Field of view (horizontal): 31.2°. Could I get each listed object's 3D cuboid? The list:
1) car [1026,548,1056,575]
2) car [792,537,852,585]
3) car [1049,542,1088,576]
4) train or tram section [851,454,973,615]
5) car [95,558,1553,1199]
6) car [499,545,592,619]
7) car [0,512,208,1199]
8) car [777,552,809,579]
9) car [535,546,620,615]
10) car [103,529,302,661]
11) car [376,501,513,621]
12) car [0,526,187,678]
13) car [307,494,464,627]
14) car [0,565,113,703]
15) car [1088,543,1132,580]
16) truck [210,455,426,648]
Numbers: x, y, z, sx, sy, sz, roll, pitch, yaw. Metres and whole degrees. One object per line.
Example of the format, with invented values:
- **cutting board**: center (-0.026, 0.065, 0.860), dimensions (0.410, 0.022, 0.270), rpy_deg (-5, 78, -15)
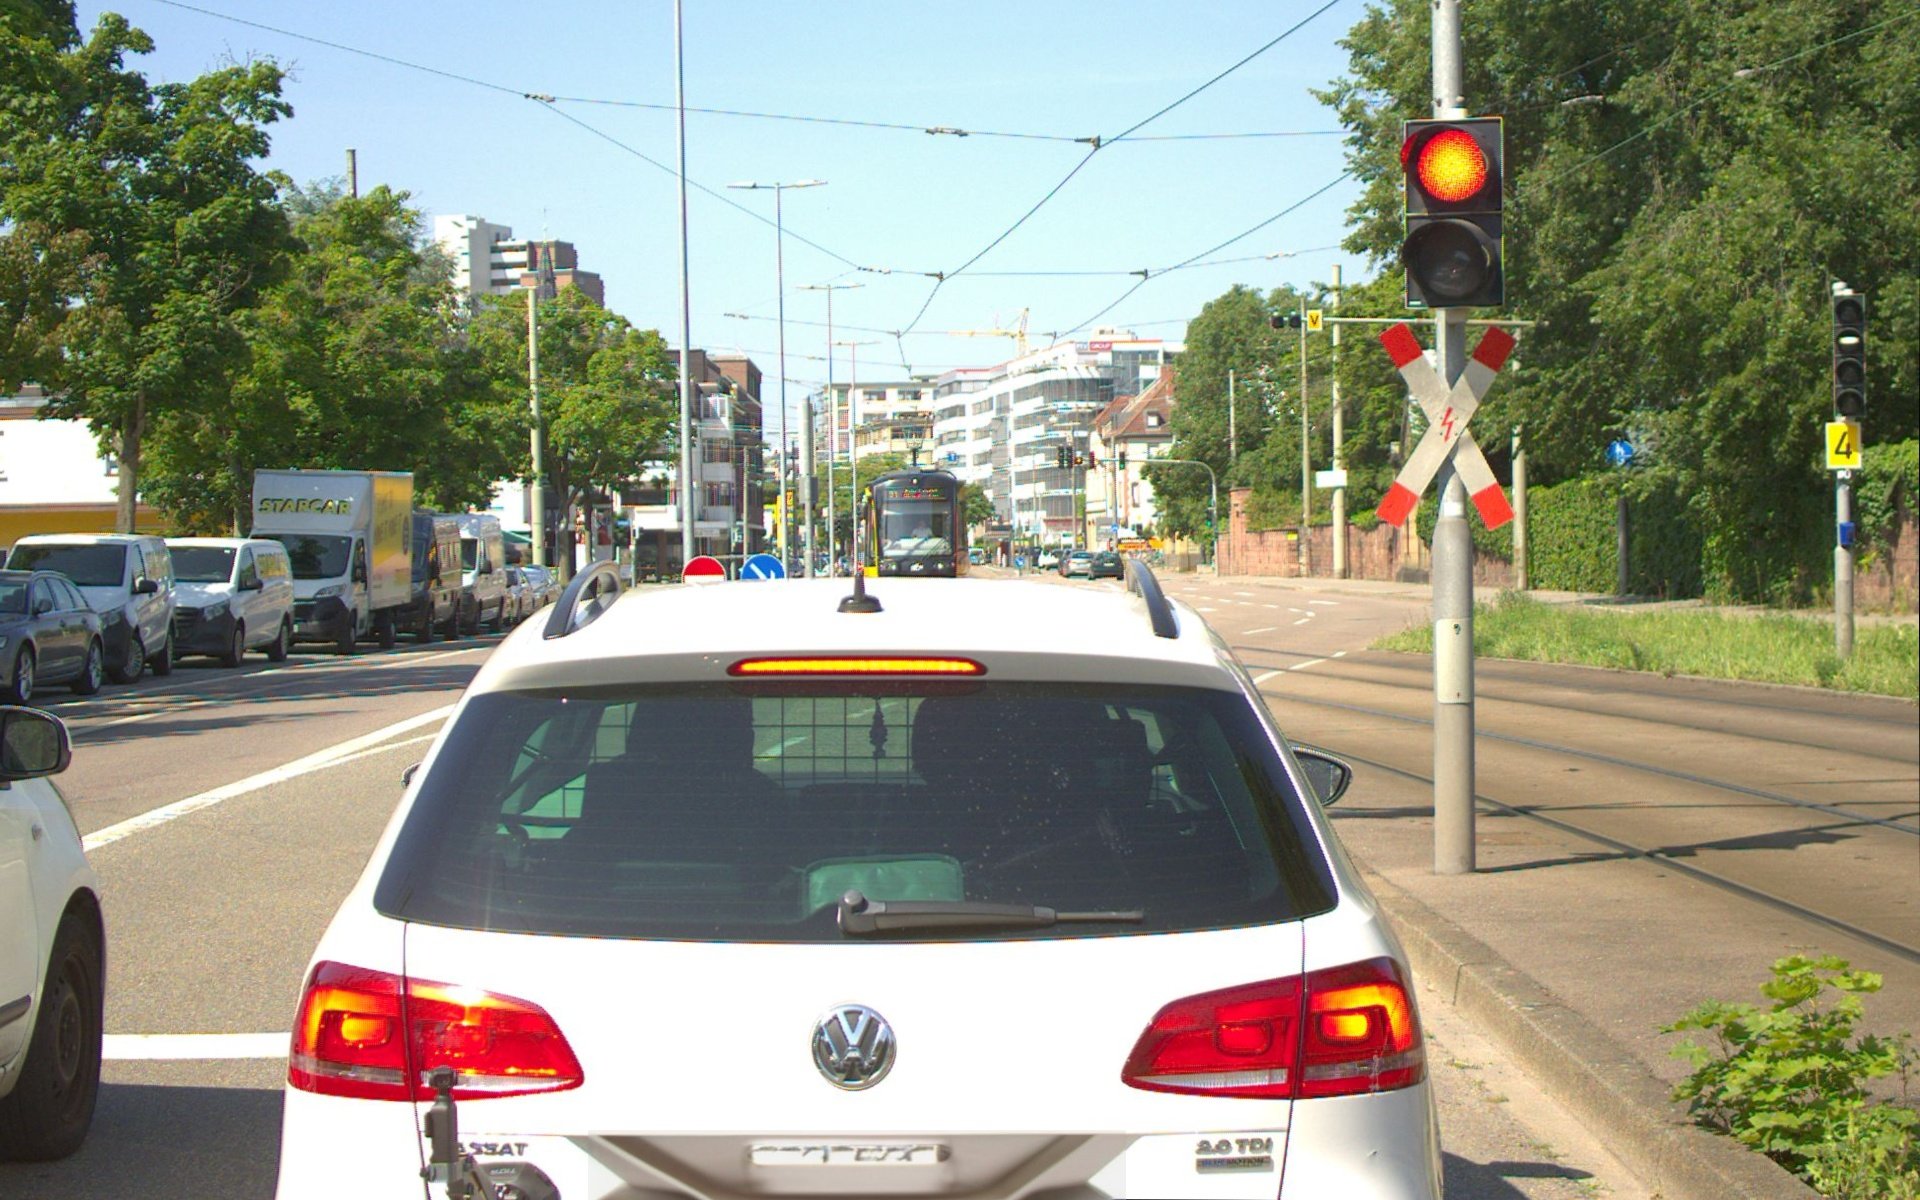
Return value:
- **car**: center (5.819, -2.795, 247.457), dimensions (1.863, 1.861, 5.062), rpy_deg (1, 1, -1)
- **car**: center (-4.510, -1.295, 112.747), dimensions (1.705, 1.468, 4.589), rpy_deg (-2, 1, 1)
- **car**: center (6.070, -2.306, 192.598), dimensions (1.863, 1.861, 5.062), rpy_deg (1, 1, -1)
- **train or tram section**: center (-1.229, -1.699, 89.572), dimensions (2.870, 3.842, 12.392), rpy_deg (-1, 1, -1)
- **car**: center (-0.178, 0.673, 6.206), dimensions (1.762, 1.425, 4.000), rpy_deg (-1, 1, -1)
- **car**: center (-11.015, -0.516, 91.693), dimensions (1.863, 1.861, 5.414), rpy_deg (1, 1, -1)
- **car**: center (-2.952, 0.584, 7.356), dimensions (1.662, 1.542, 4.547), rpy_deg (0, 1, 0)
- **car**: center (-9.381, -1.955, 193.357), dimensions (1.705, 1.468, 4.589), rpy_deg (-1, 1, -3)
- **car**: center (-10.937, -0.592, 98.609), dimensions (1.863, 1.861, 5.414), rpy_deg (1, 1, -1)
- **car**: center (-11.363, -0.119, 51.910), dimensions (1.863, 1.861, 5.414), rpy_deg (1, 1, -1)
- **car**: center (-11.302, -0.873, 75.762), dimensions (2.123, 2.508, 5.733), rpy_deg (1, 1, 0)
- **car**: center (-11.458, -0.025, 45.320), dimensions (1.863, 1.861, 5.075), rpy_deg (1, 1, -6)
- **car**: center (-11.352, -0.802, 68.326), dimensions (2.123, 2.508, 5.733), rpy_deg (1, 1, 0)
- **car**: center (-10.989, 0.332, 38.755), dimensions (1.863, 1.411, 4.280), rpy_deg (1, 1, -1)
- **car**: center (7.709, -1.990, 176.804), dimensions (1.863, 1.861, 5.062), rpy_deg (1, 1, -1)
- **truck**: center (-11.157, -0.861, 60.323), dimensions (2.421, 3.139, 6.997), rpy_deg (1, 1, 0)
